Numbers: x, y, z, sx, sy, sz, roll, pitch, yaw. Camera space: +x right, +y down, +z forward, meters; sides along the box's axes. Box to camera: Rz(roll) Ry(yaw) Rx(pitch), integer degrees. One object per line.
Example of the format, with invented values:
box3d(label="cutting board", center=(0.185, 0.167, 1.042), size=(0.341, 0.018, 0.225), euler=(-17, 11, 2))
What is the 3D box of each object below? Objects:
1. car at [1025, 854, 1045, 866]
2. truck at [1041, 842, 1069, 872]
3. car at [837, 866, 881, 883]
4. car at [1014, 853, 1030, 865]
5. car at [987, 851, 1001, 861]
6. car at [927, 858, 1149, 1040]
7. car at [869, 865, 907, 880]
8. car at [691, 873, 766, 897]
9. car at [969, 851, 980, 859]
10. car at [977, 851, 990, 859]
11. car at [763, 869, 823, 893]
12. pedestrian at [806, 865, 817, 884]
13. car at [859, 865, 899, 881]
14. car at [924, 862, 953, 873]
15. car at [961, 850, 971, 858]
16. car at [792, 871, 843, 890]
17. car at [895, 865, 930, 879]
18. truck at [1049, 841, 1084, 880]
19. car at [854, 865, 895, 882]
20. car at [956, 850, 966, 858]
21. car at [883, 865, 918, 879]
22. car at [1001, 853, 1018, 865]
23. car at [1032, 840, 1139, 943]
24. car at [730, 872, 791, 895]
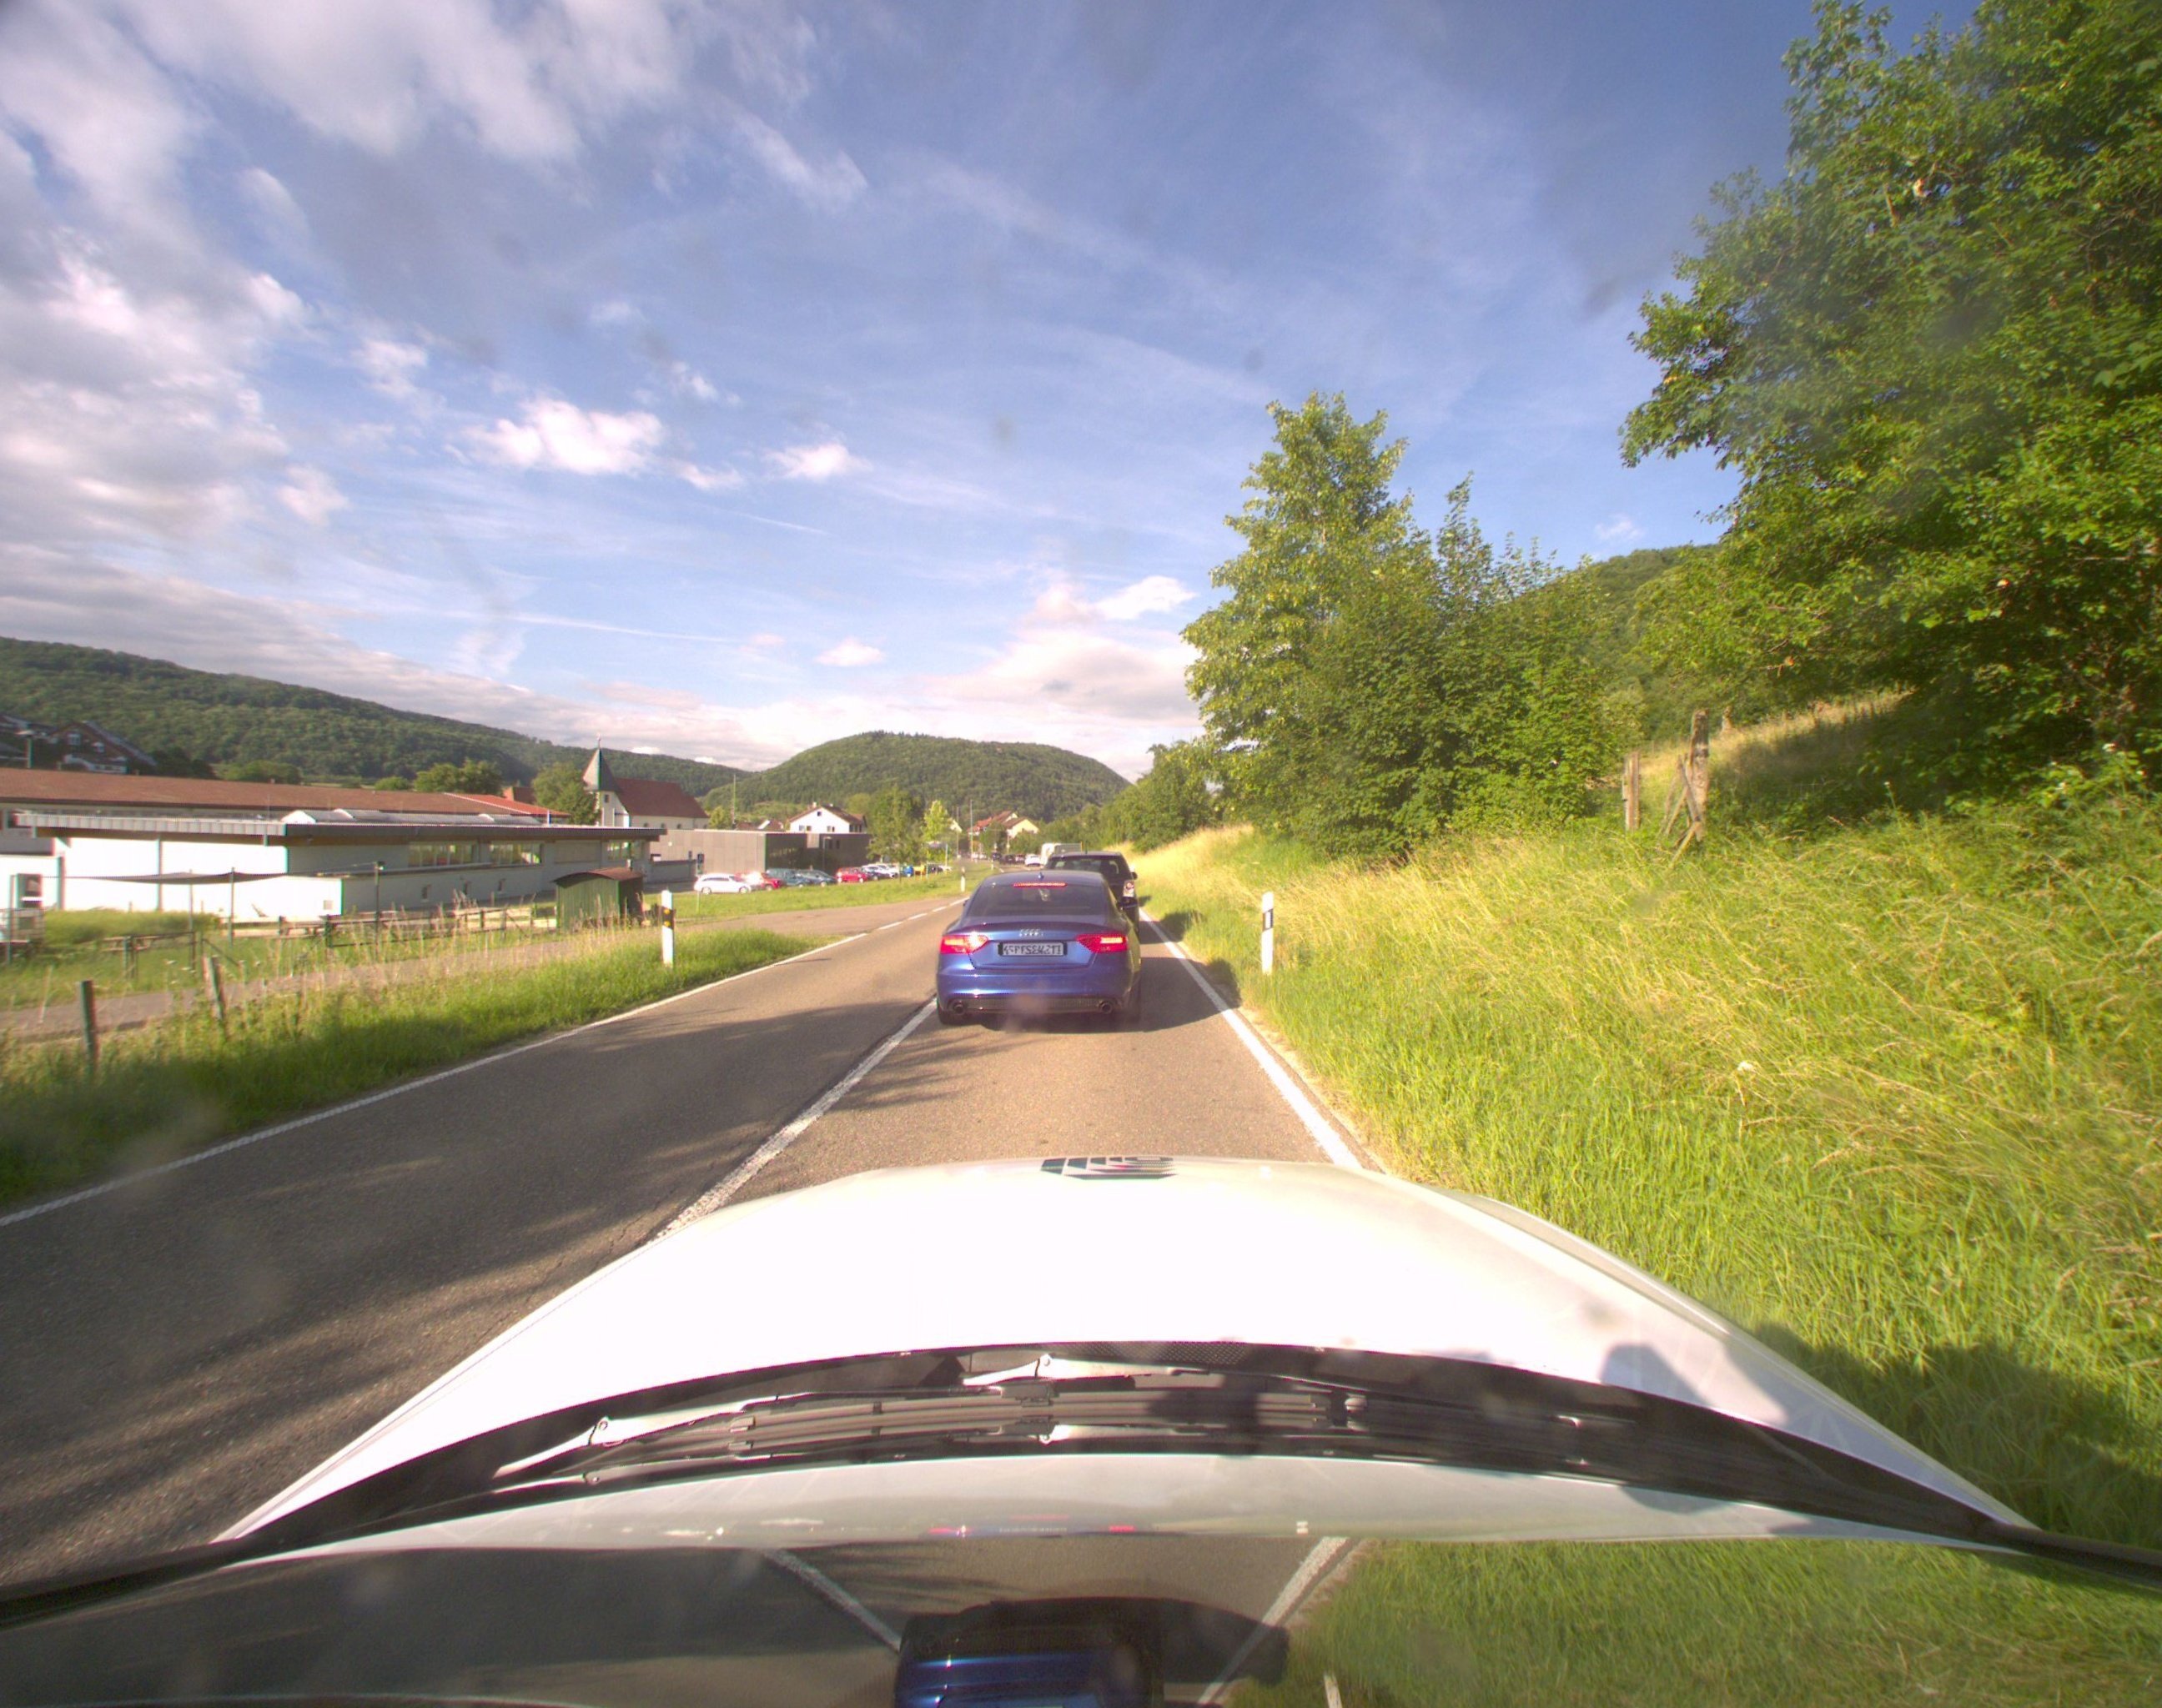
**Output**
box3d(label="car", center=(-5.797, 0.805, 102.341), size=(1.847, 1.482, 3.982), euler=(0, -1, -13))
box3d(label="truck", center=(-2.355, 0.276, 72.487), size=(2.225, 2.570, 6.697), euler=(0, -1, -4))
box3d(label="car", center=(-23.102, 2.089, 84.762), size=(3.975, 1.711, 1.999), euler=(0, -1, -1))
box3d(label="car", center=(-8.784, 0.806, 120.414), size=(1.847, 1.712, 3.984), euler=(0, -1, -12))
box3d(label="car", center=(-15.903, 0.329, 148.727), size=(1.850, 1.712, 3.976), euler=(0, -1, -17))
box3d(label="car", center=(-0.252, 0.774, 8.368), size=(1.747, 1.430, 3.849), euler=(0, -1, 3))
box3d(label="car", center=(-22.810, 2.191, 96.252), size=(3.975, 1.711, 1.999), euler=(0, -1, -1))
box3d(label="car", center=(-26.435, 2.317, 61.206), size=(4.717, 1.711, 1.999), euler=(0, -1, -1))
box3d(label="car", center=(-22.733, 0.284, 174.206), size=(1.849, 1.712, 3.978), euler=(0, -1, -16))
box3d(label="car", center=(-19.836, 0.233, 165.240), size=(1.850, 1.712, 3.976), euler=(0, -1, -17))
box3d(label="car", center=(-24.712, 2.316, 69.990), size=(4.393, 2.008, 1.999), euler=(0, -1, -1))
box3d(label="pedestrian", center=(-29.142, 2.224, 88.110), size=(0.822, 2.014, 0.973), euler=(0, -1, 1))
box3d(label="car", center=(-23.017, 2.163, 92.971), size=(3.975, 1.711, 1.999), euler=(0, -1, -1))
box3d(label="car", center=(-20.821, 1.942, 119.250), size=(3.975, 1.579, 1.752), euler=(0, -1, -1))
box3d(label="car", center=(-25.906, 0.008, 183.588), size=(1.849, 1.712, 3.978), euler=(0, -1, -16))
box3d(label="car", center=(-24.098, 2.420, 74.481), size=(3.975, 1.711, 1.999), euler=(0, -1, -1))
box3d(label="car", center=(-21.651, 2.259, 104.692), size=(3.975, 1.711, 1.999), euler=(0, -1, -1))
box3d(label="truck", center=(-1.099, 0.437, 57.090), size=(2.225, 2.570, 6.096), euler=(0, -1, -3))
box3d(label="car", center=(-22.658, 2.127, 89.304), size=(3.975, 1.711, 1.999), euler=(0, -1, -1))
box3d(label="car", center=(-28.285, 0.034, 191.923), size=(1.849, 1.712, 3.978), euler=(0, -1, -16))
box3d(label="car", center=(-22.566, 2.242, 102.037), size=(3.975, 1.711, 1.999), euler=(0, -1, -1))
box3d(label="car", center=(-10.193, 0.707, 116.575), size=(1.848, 1.712, 3.980), euler=(0, -1, -14))
box3d(label="car", center=(0.170, 0.628, 15.290), size=(1.747, 1.681, 3.849), euler=(0, -1, 3))
box3d(label="car", center=(-25.212, 2.335, 64.187), size=(3.975, 1.711, 1.999), euler=(0, -1, -1))
